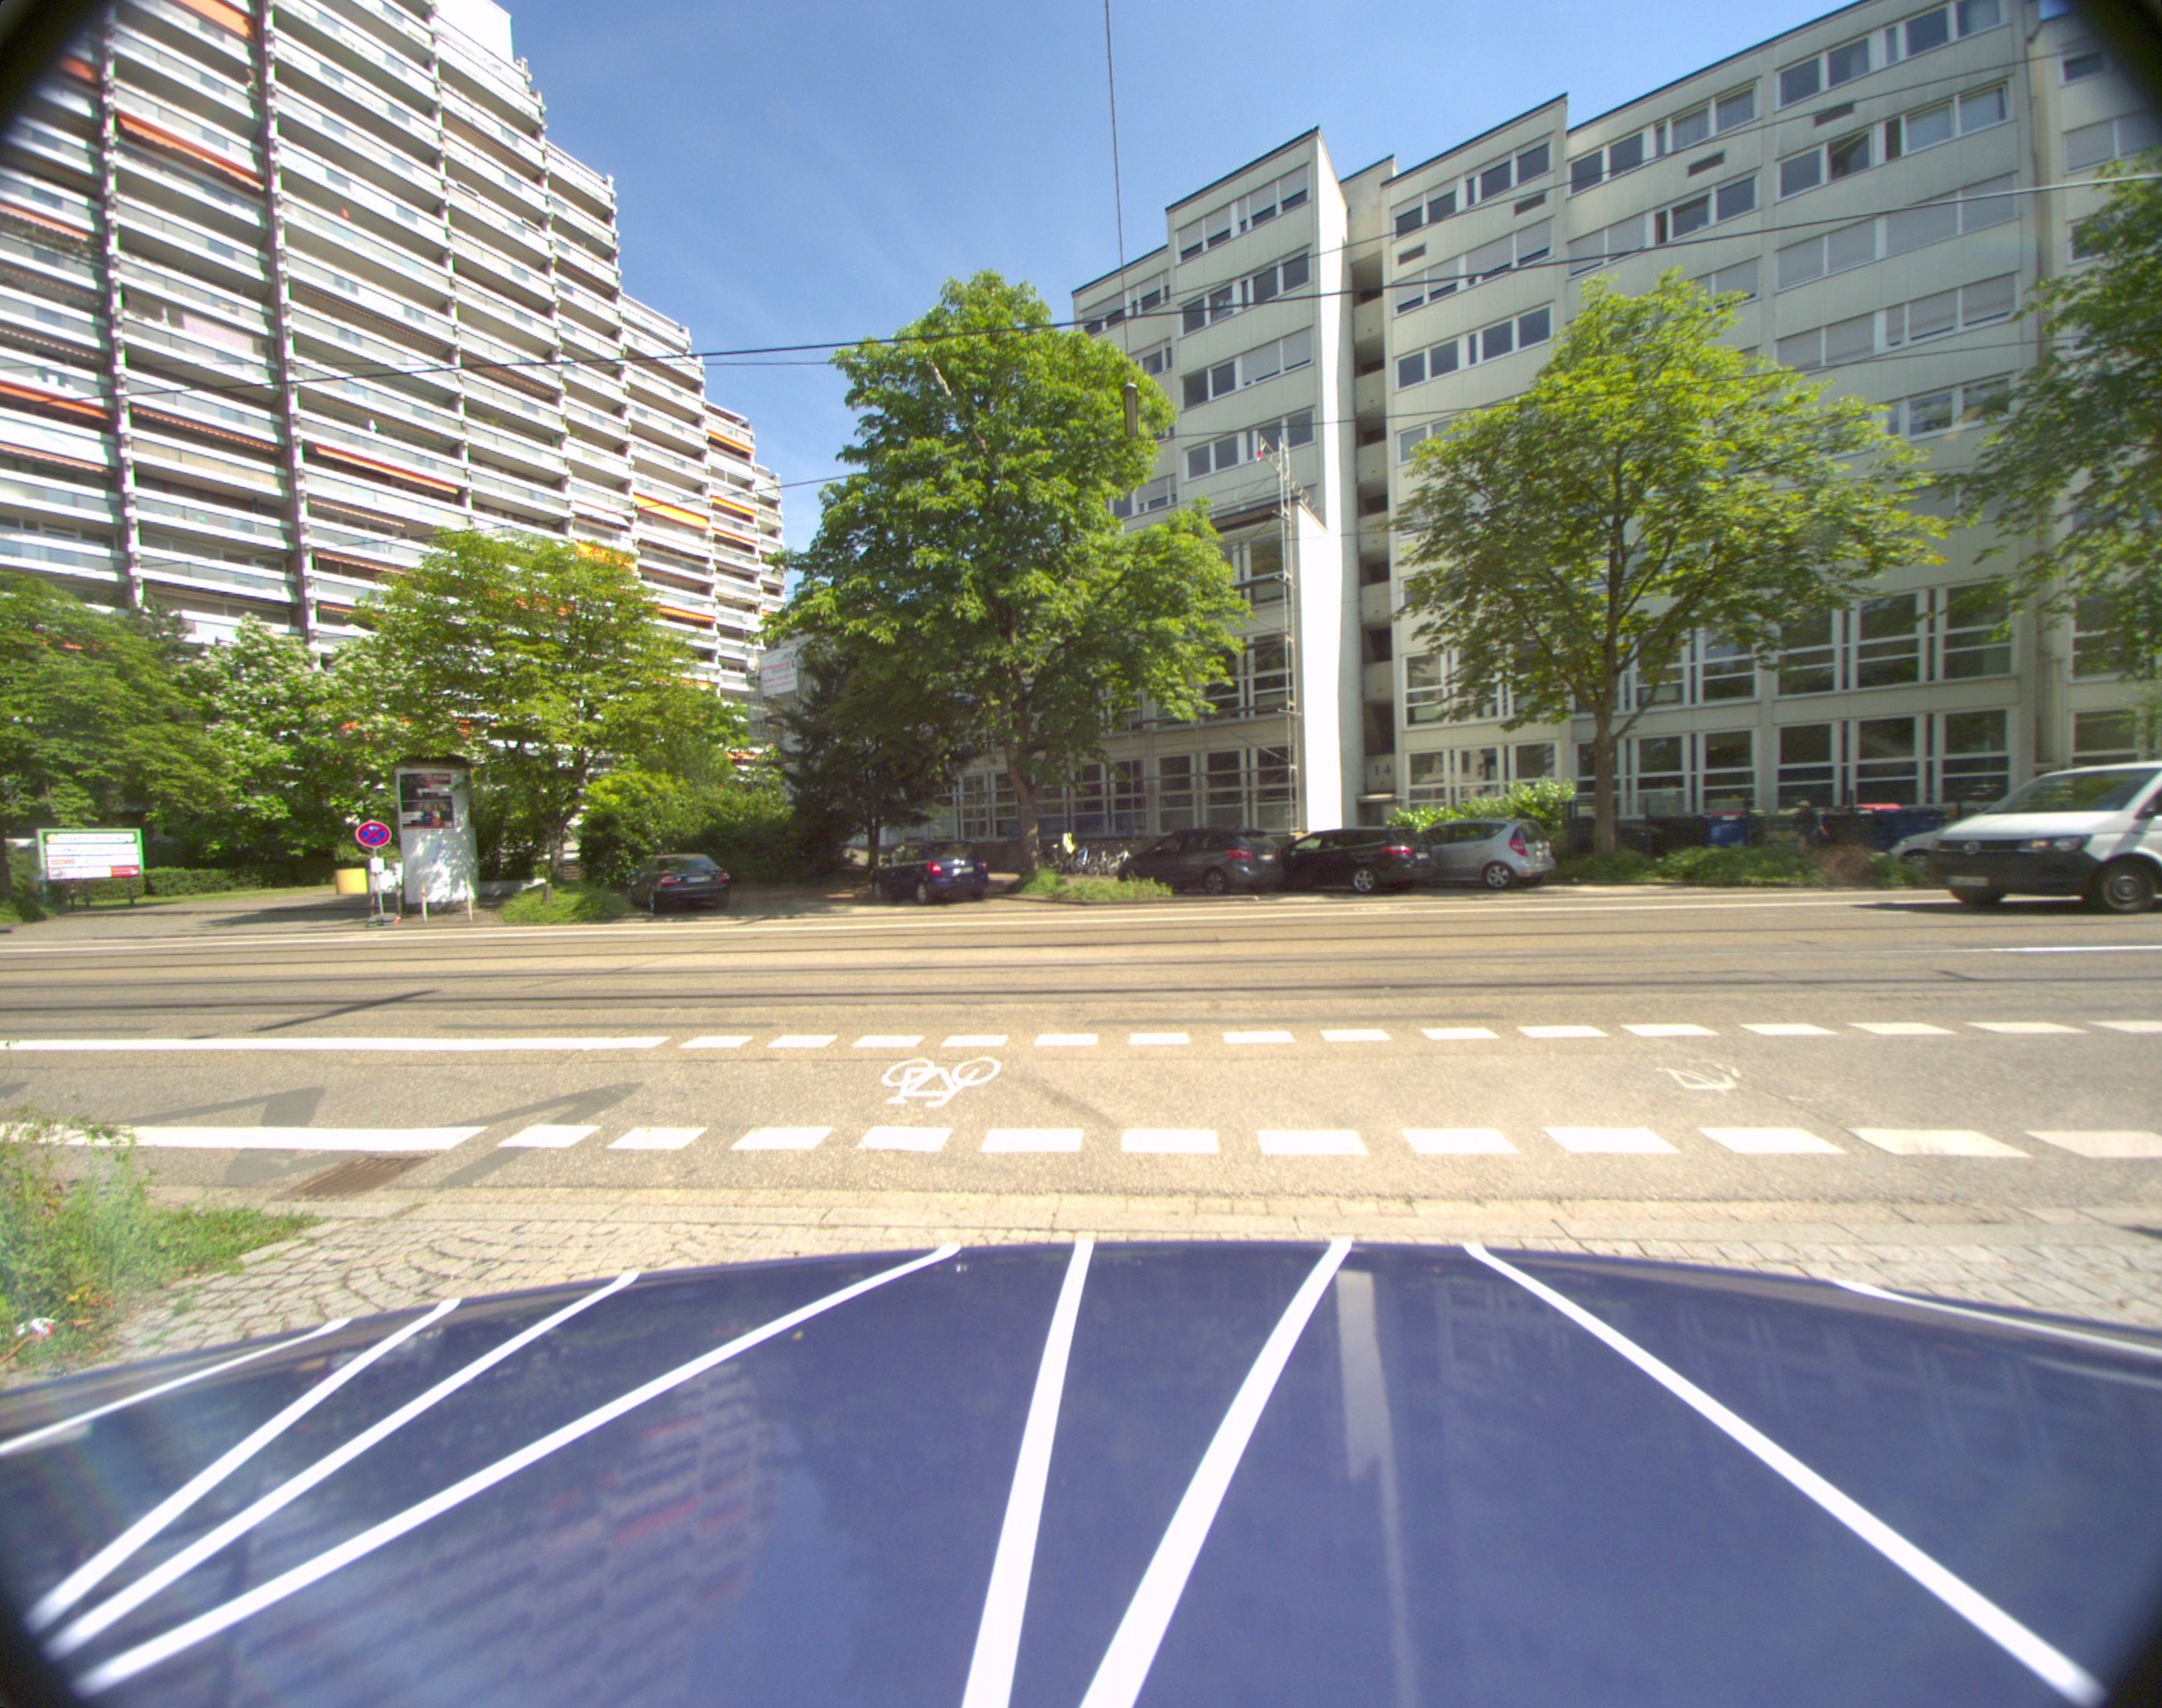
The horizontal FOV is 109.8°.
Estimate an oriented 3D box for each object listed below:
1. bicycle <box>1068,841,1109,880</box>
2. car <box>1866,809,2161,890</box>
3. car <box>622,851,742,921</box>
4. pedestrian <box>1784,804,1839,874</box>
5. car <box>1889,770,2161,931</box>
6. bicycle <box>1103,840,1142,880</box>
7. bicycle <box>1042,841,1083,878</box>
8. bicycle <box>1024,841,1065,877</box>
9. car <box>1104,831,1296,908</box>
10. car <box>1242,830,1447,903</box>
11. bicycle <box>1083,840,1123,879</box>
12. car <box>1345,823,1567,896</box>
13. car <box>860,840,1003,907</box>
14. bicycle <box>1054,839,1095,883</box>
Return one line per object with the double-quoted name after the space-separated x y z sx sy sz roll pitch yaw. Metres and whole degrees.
0.268 0.189 25.502 0.488 1.193 2.019 -1 2 26 "bicycle"
19.383 -0.123 15.856 1.712 1.455 3.841 -3 2 -27 "car"
-10.310 0.721 19.490 1.845 1.403 4.135 -6 5 -39 "car"
19.041 -0.401 19.816 0.752 1.767 0.732 -2 2 5 "pedestrian"
14.564 -0.129 10.060 5.242 1.935 1.997 -2 2 7 "car"
1.393 0.177 24.955 0.488 1.193 2.019 -1 2 26 "bicycle"
-0.623 0.173 26.183 0.488 1.193 2.019 -1 2 26 "bicycle"
-1.263 0.157 26.651 0.488 1.193 2.019 -1 2 25 "bicycle"
2.720 0.323 18.248 1.811 1.556 4.378 -4 2 -40 "car"
6.040 0.258 17.786 1.805 1.467 4.173 -4 2 -41 "car"
0.739 0.169 25.272 0.488 1.193 2.019 -1 2 26 "bicycle"
8.727 0.095 18.016 1.805 1.478 4.328 -3 2 -38 "car"
-3.790 0.427 18.829 1.806 1.440 3.974 -3 2 -38 "car"
-0.197 0.205 25.723 0.488 1.370 2.019 -1 2 26 "bicycle"
